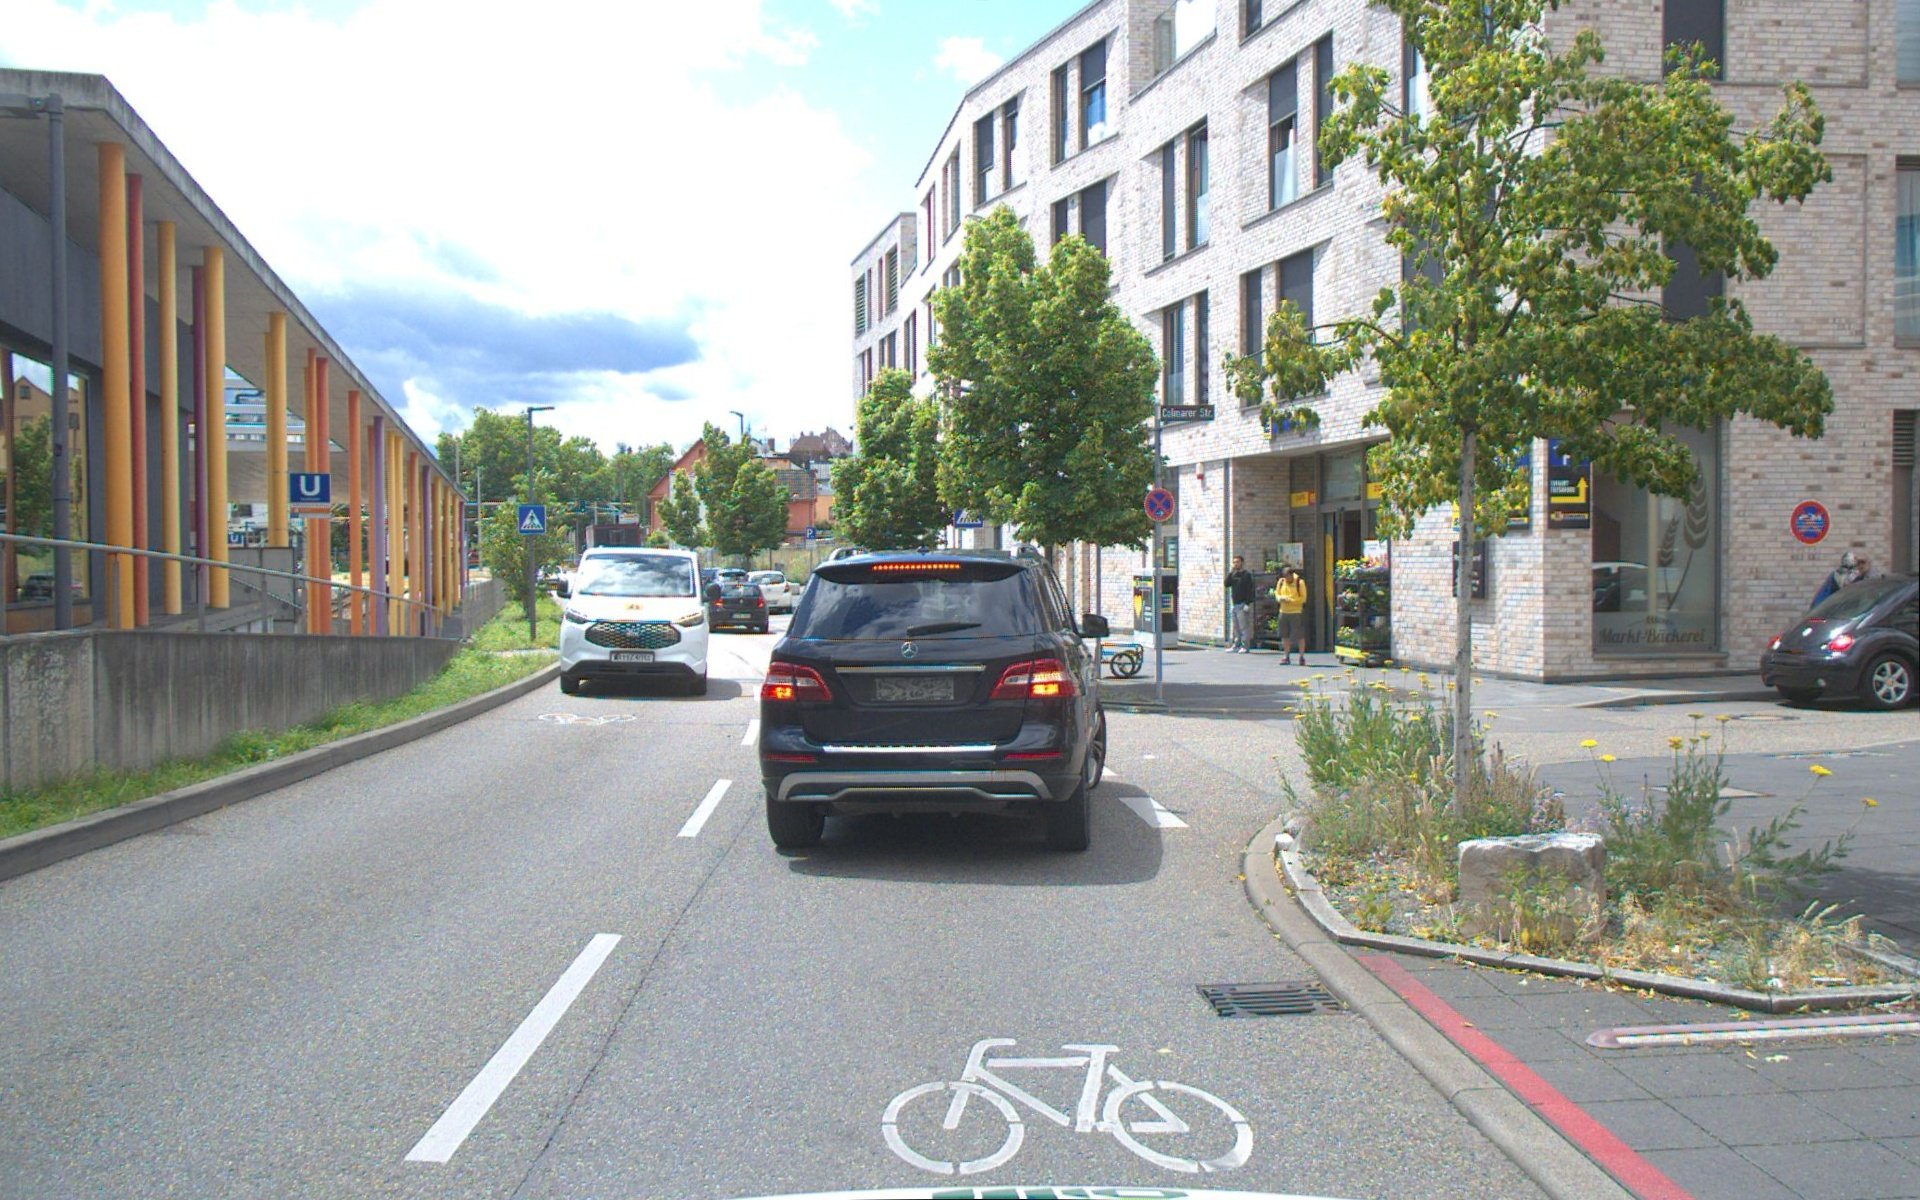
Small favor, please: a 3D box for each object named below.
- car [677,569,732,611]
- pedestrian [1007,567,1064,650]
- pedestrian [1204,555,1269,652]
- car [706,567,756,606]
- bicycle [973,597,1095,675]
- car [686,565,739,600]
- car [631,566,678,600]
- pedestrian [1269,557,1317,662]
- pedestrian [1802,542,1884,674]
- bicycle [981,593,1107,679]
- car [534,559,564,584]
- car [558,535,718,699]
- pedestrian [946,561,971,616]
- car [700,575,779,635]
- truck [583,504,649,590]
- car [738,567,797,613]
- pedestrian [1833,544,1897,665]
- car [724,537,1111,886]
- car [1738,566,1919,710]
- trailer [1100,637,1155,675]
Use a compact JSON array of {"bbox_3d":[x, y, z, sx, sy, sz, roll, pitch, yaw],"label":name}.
[{"bbox_3d":[-9.686,-0.406,62.564,1.683,1.417,3.795,-2,2,-14],"label":"car"},{"bbox_3d":[1.469,0.173,32.280,0.802,1.592,0.923,1,-1,-24],"label":"pedestrian"},{"bbox_3d":[5.172,0.062,30.962,0.999,1.772,0.656,-1,1,-19],"label":"pedestrian"},{"bbox_3d":[-9.560,-0.602,68.856,1.664,1.486,4.132,-2,2,-13],"label":"car"},{"bbox_3d":[1.161,0.558,26.112,1.789,1.151,0.755,-2,1,-9],"label":"bicycle"},{"bbox_3d":[-11.297,-0.815,75.260,1.834,1.476,4.625,-2,2,-15],"label":"car"},{"bbox_3d":[-14.263,-0.779,77.005,1.856,1.491,4.054,-2,1,-14],"label":"car"},{"bbox_3d":[5.539,0.144,27.504,0.644,1.722,0.631,-1,1,25],"label":"pedestrian"},{"bbox_3d":[11.654,0.110,21.838,0.549,1.700,0.806,1,-1,-35],"label":"pedestrian"},{"bbox_3d":[1.275,0.535,25.290,1.789,1.222,0.755,-2,1,-9],"label":"bicycle"},{"bbox_3d":[-25.222,-1.739,101.536,1.781,1.494,3.893,1,1,-14],"label":"car"},{"bbox_3d":[-4.525,0.190,23.764,1.957,2.049,5.383,1,1,-9],"label":"car"},{"bbox_3d":[-0.044,-0.331,46.208,0.596,1.498,0.790,-2,2,-7],"label":"pedestrian"},{"bbox_3d":[-6.260,0.102,46.702,1.698,1.482,3.794,-2,2,-15],"label":"car"},{"bbox_3d":[-19.657,-2.895,94.081,3.150,4.615,8.991,0,0,-15],"label":"truck"},{"bbox_3d":[-7.000,-0.384,59.917,1.664,1.509,3.785,-2,2,-13],"label":"car"},{"bbox_3d":[12.155,0.060,22.223,0.516,1.601,0.596,1,-1,-35],"label":"pedestrian"},{"bbox_3d":[-0.024,0.540,10.931,1.951,1.777,4.536,-2,1,6],"label":"car"},{"bbox_3d":[11.393,0.367,19.297,3.819,1.502,1.781,-2,1,-6],"label":"car"},{"bbox_3d":[2.556,0.852,25.284,0.705,0.538,0.811,0,0,-5],"label":"trailer"}]
